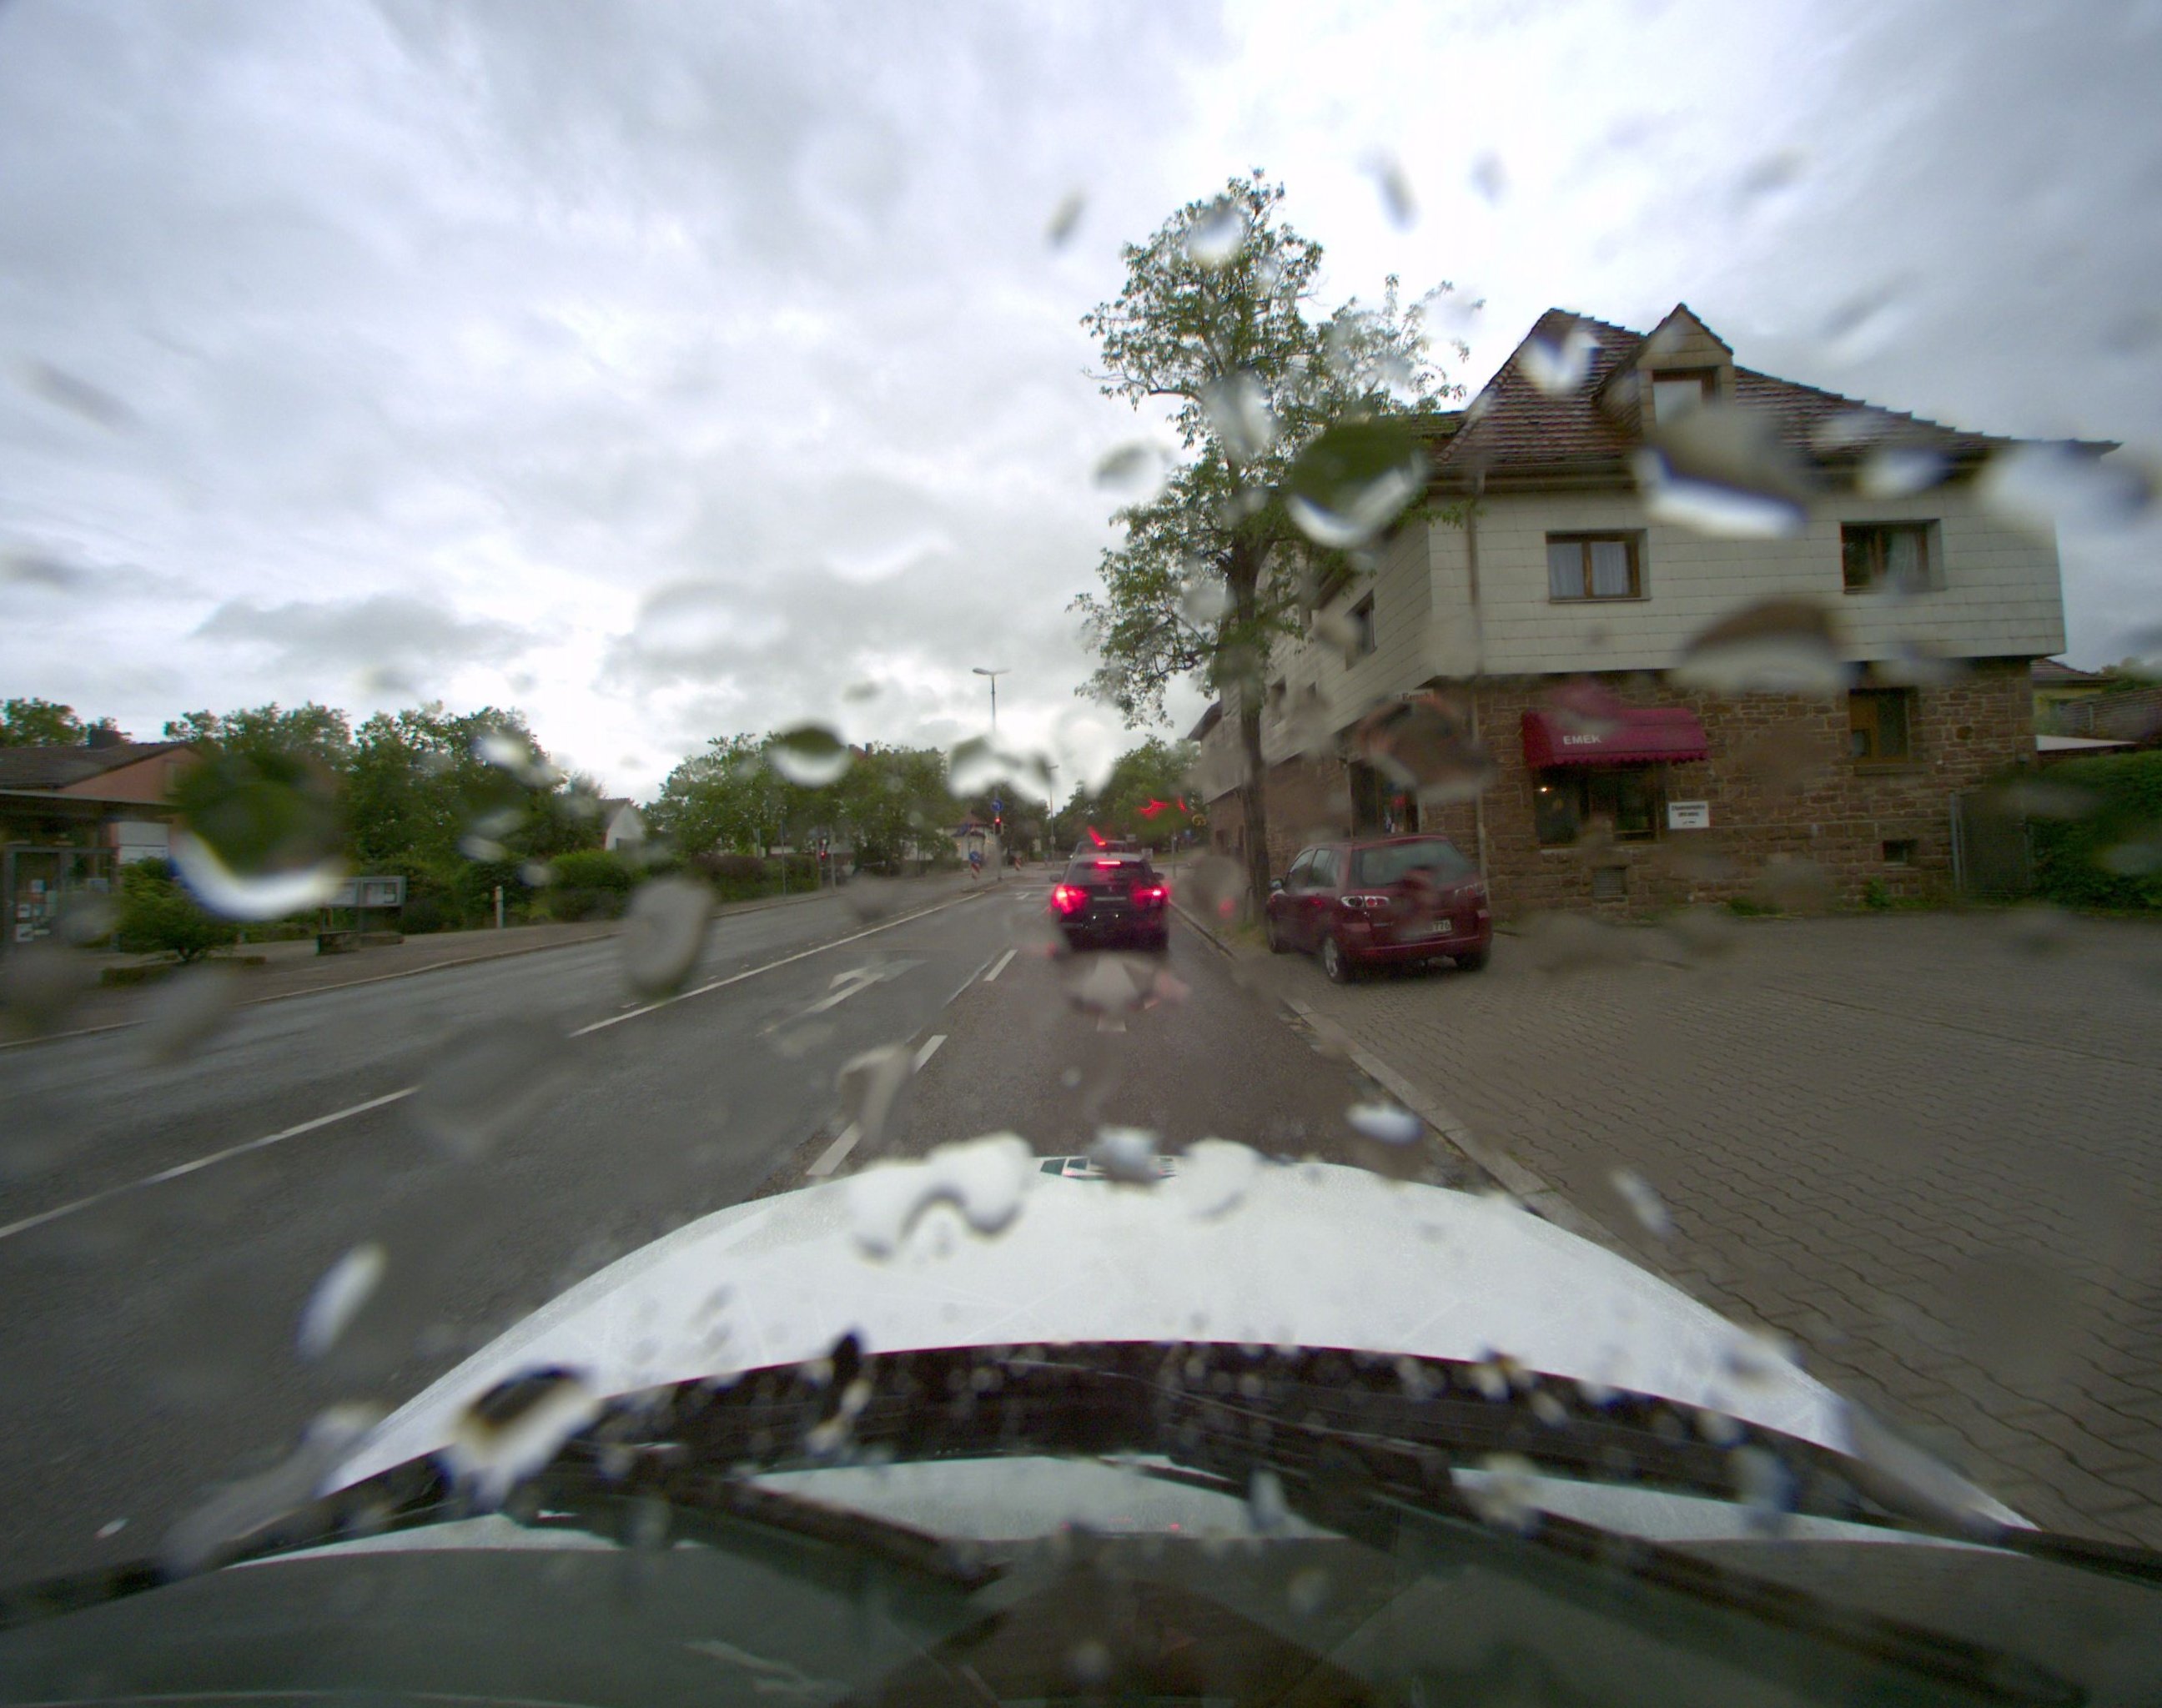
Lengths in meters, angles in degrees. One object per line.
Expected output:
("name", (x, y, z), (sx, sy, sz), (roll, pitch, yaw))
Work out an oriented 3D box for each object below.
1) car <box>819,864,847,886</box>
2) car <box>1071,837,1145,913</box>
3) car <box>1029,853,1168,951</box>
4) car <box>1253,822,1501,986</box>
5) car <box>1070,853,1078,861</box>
("car", (-19.884, 1.646, 65.174), (2.000, 1.552, 3.974), (-2, 0, -20))
("car", (0.670, 0.503, 21.983), (1.778, 1.817, 3.999), (-2, 0, 0))
("car", (0.255, 0.724, 14.456), (2.058, 1.446, 4.482), (-1, 0, 0))
("car", (3.324, 0.475, 9.900), (1.579, 1.490, 3.626), (-5, 1, 0))
("car", (-1.331, 0.615, 162.847), (1.459, 1.398, 3.322), (-2, 0, 1))
